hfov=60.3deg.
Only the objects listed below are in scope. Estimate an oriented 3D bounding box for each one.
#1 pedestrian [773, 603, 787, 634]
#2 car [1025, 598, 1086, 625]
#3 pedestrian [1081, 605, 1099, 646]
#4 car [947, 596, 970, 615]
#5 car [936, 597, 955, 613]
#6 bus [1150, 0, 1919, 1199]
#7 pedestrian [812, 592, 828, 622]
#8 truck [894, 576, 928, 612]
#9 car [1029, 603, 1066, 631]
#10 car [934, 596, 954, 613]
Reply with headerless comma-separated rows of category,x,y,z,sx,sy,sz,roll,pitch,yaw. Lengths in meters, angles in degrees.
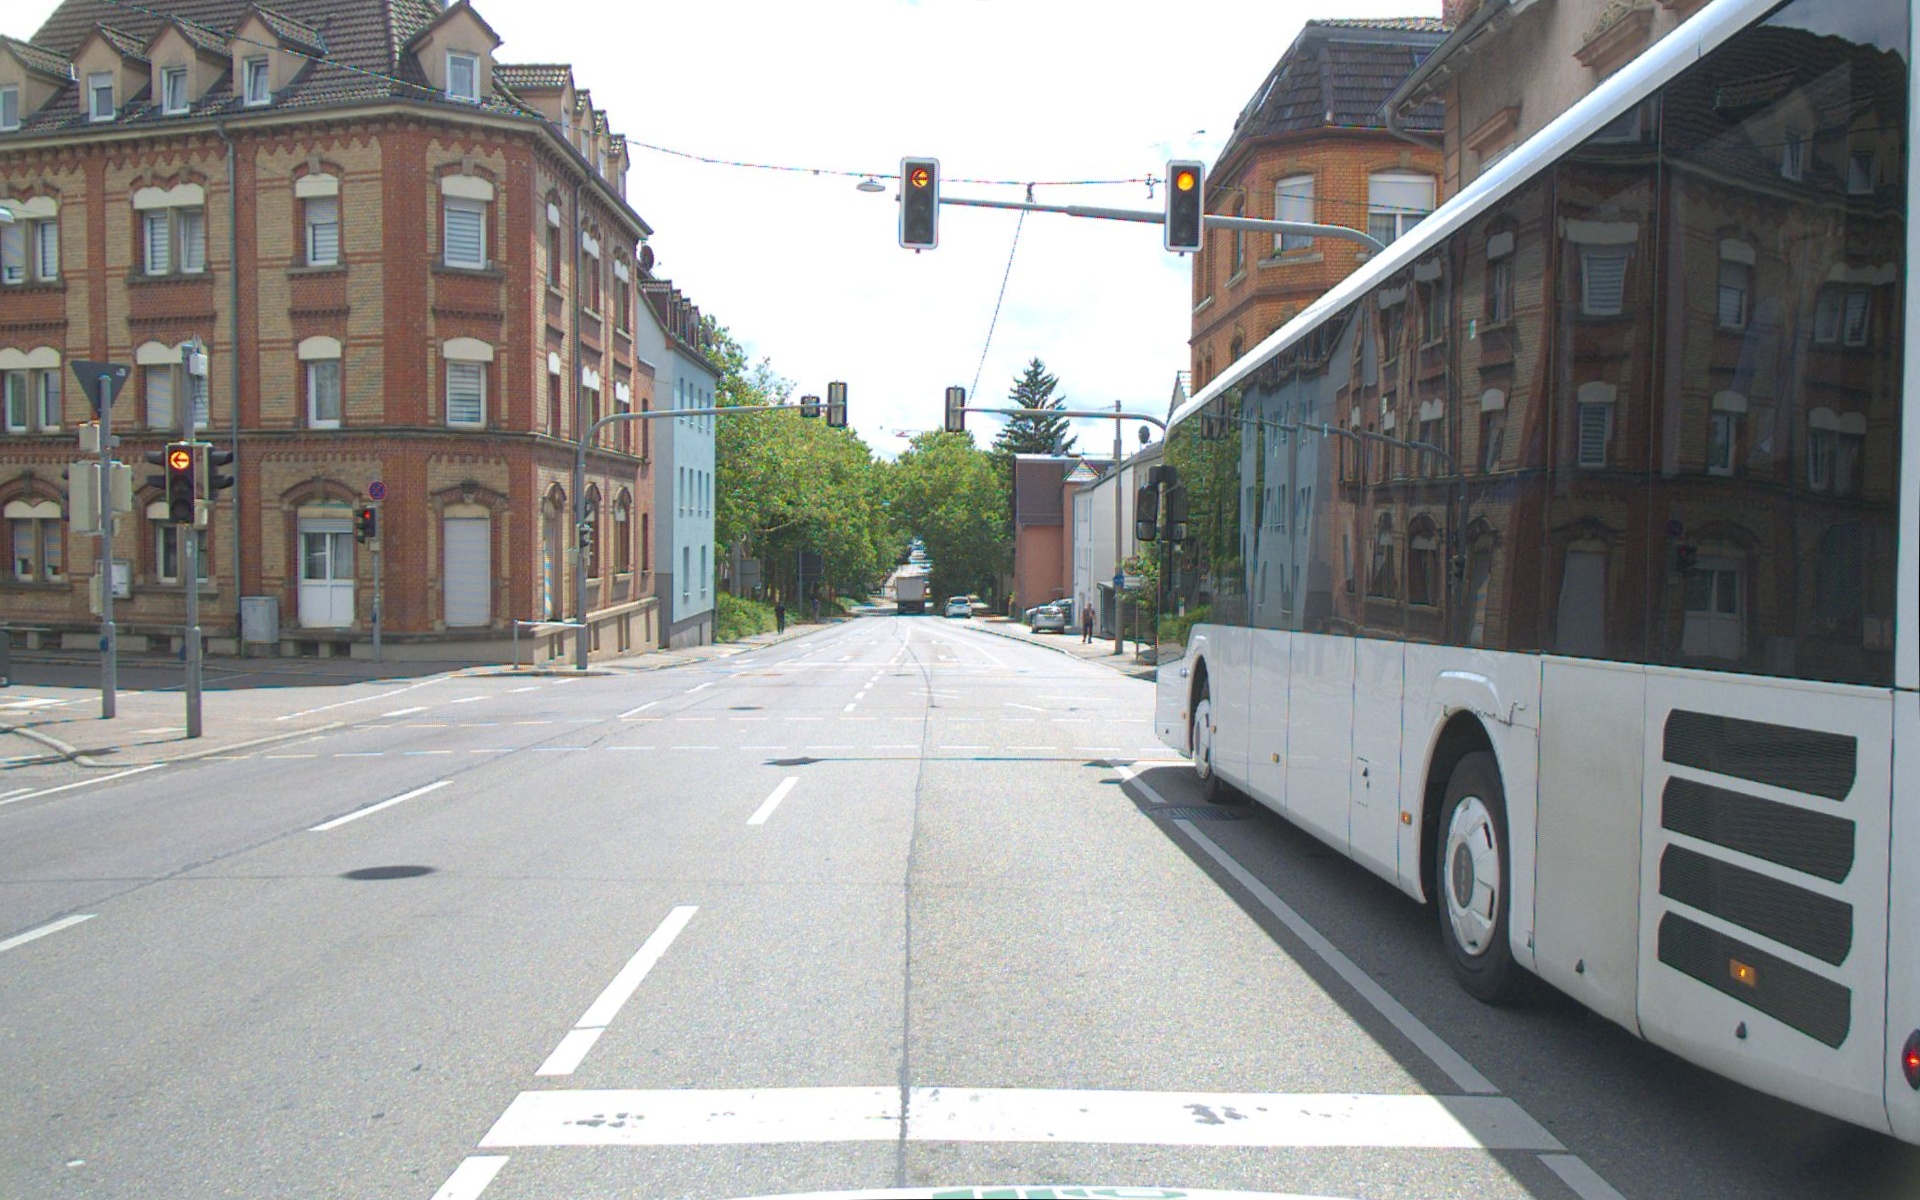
pedestrian,-9.299,0.929,85.466,0.714,1.592,0.560,0,0,-2
car,6.494,0.771,113.240,3.909,1.788,1.998,-1,0,-6
pedestrian,5.646,1.097,71.936,0.723,1.781,0.619,-1,0,-1
car,-0.136,0.444,129.272,1.758,1.434,3.999,1,0,-1
car,-1.326,0.500,153.888,1.757,1.434,4.418,1,0,0
bus,3.181,-0.064,9.203,2.618,3.211,12.460,1,0,-1
pedestrian,-9.635,0.482,113.798,0.974,2.049,1.188,0,0,-1
truck,-4.491,-0.598,150.281,2.868,3.135,7.881,-1,0,-3
car,4.918,0.940,93.115,1.758,1.434,3.999,-1,1,-2
car,-1.396,0.390,145.782,1.757,1.434,4.418,1,0,0
